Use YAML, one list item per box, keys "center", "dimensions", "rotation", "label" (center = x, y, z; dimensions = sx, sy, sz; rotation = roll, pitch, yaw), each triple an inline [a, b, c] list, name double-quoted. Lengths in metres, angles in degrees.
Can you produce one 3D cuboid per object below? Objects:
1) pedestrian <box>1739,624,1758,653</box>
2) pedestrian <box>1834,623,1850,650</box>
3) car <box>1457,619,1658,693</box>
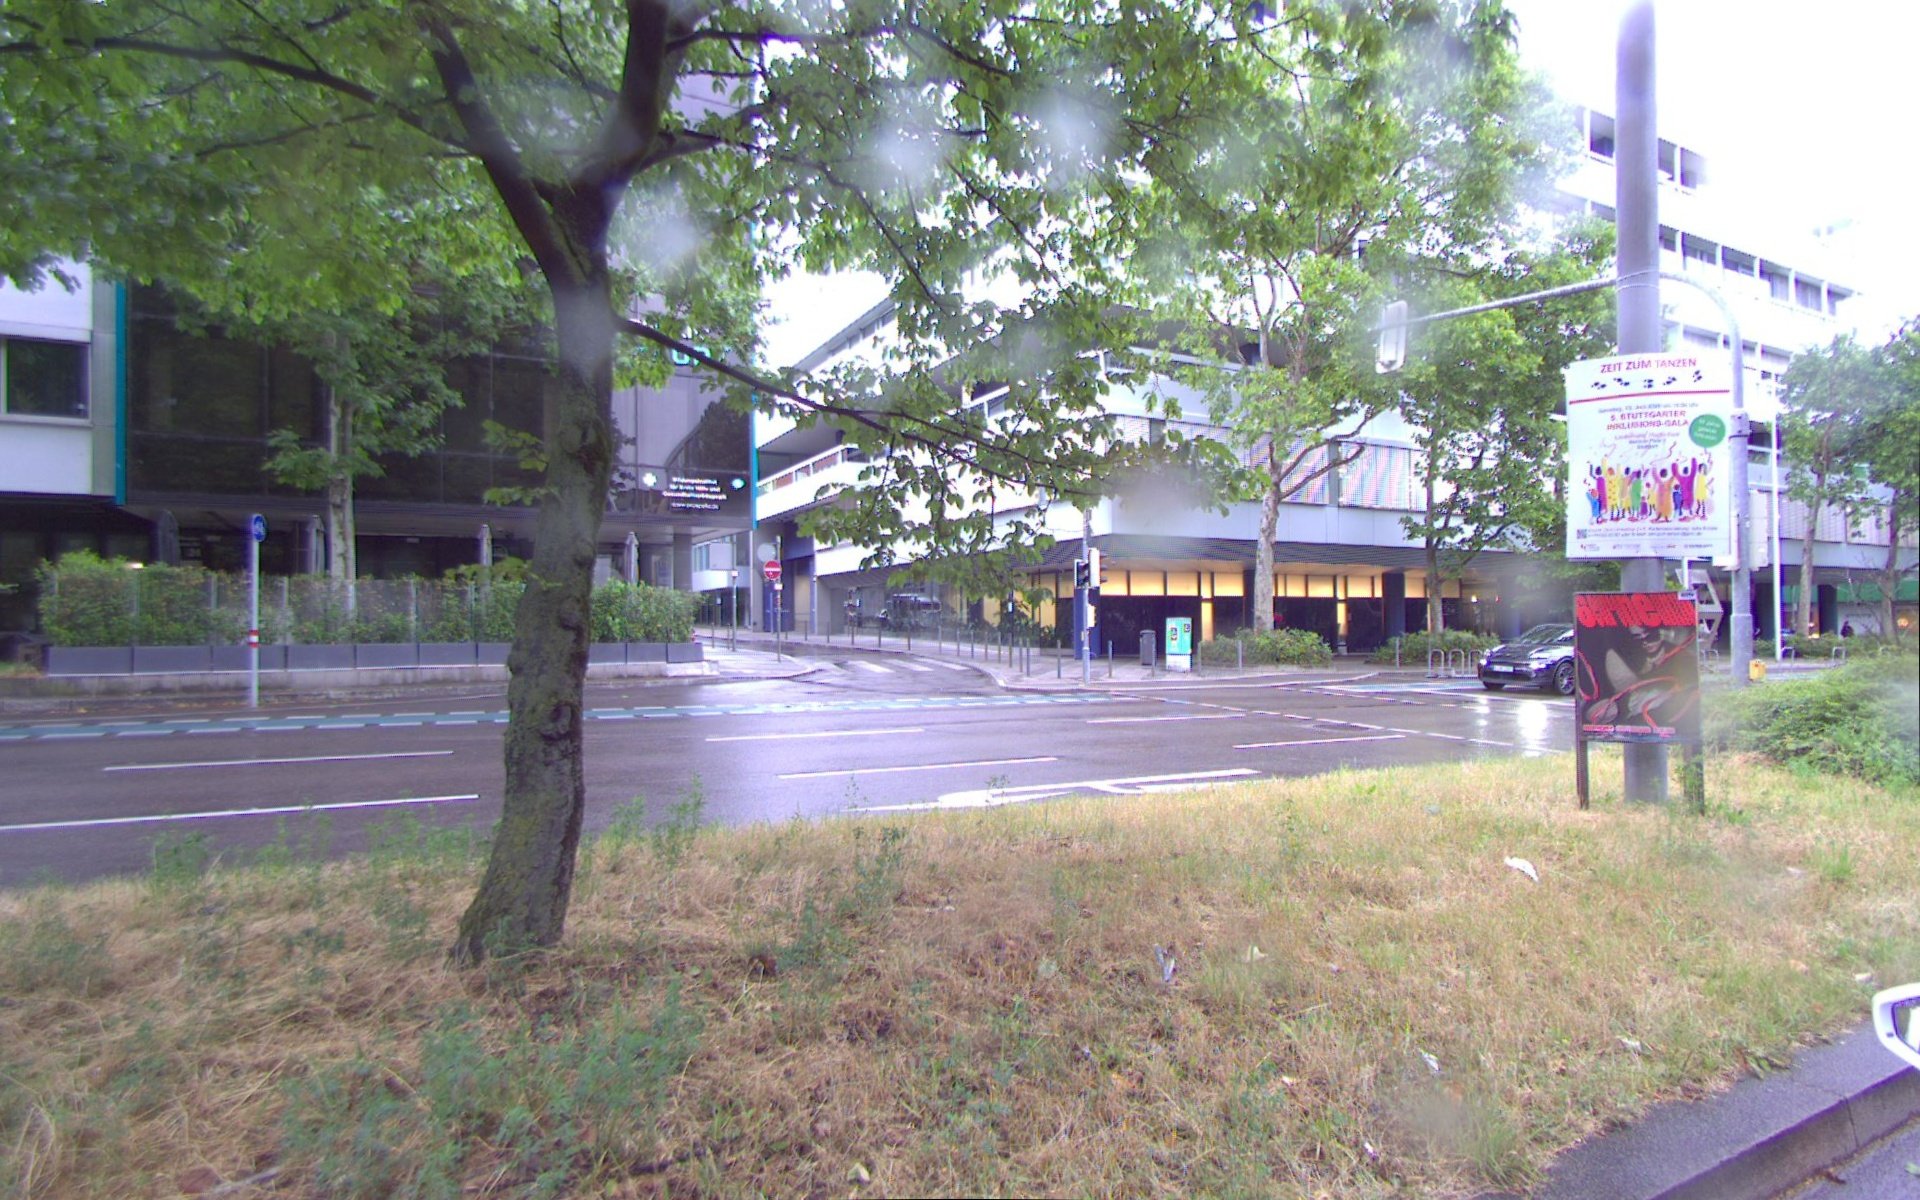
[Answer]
- center: [39.662, 1.928, 50.510]
  dimensions: [0.470, 1.398, 0.632]
  rotation: [2, 0, -40]
  label: "pedestrian"
- center: [50.326, 2.078, 57.315]
  dimensions: [0.570, 1.502, 0.604]
  rotation: [2, 0, -40]
  label: "pedestrian"
- center: [14.499, 1.350, 24.331]
  dimensions: [4.683, 1.605, 1.903]
  rotation: [2, 0, -26]
  label: "car"
